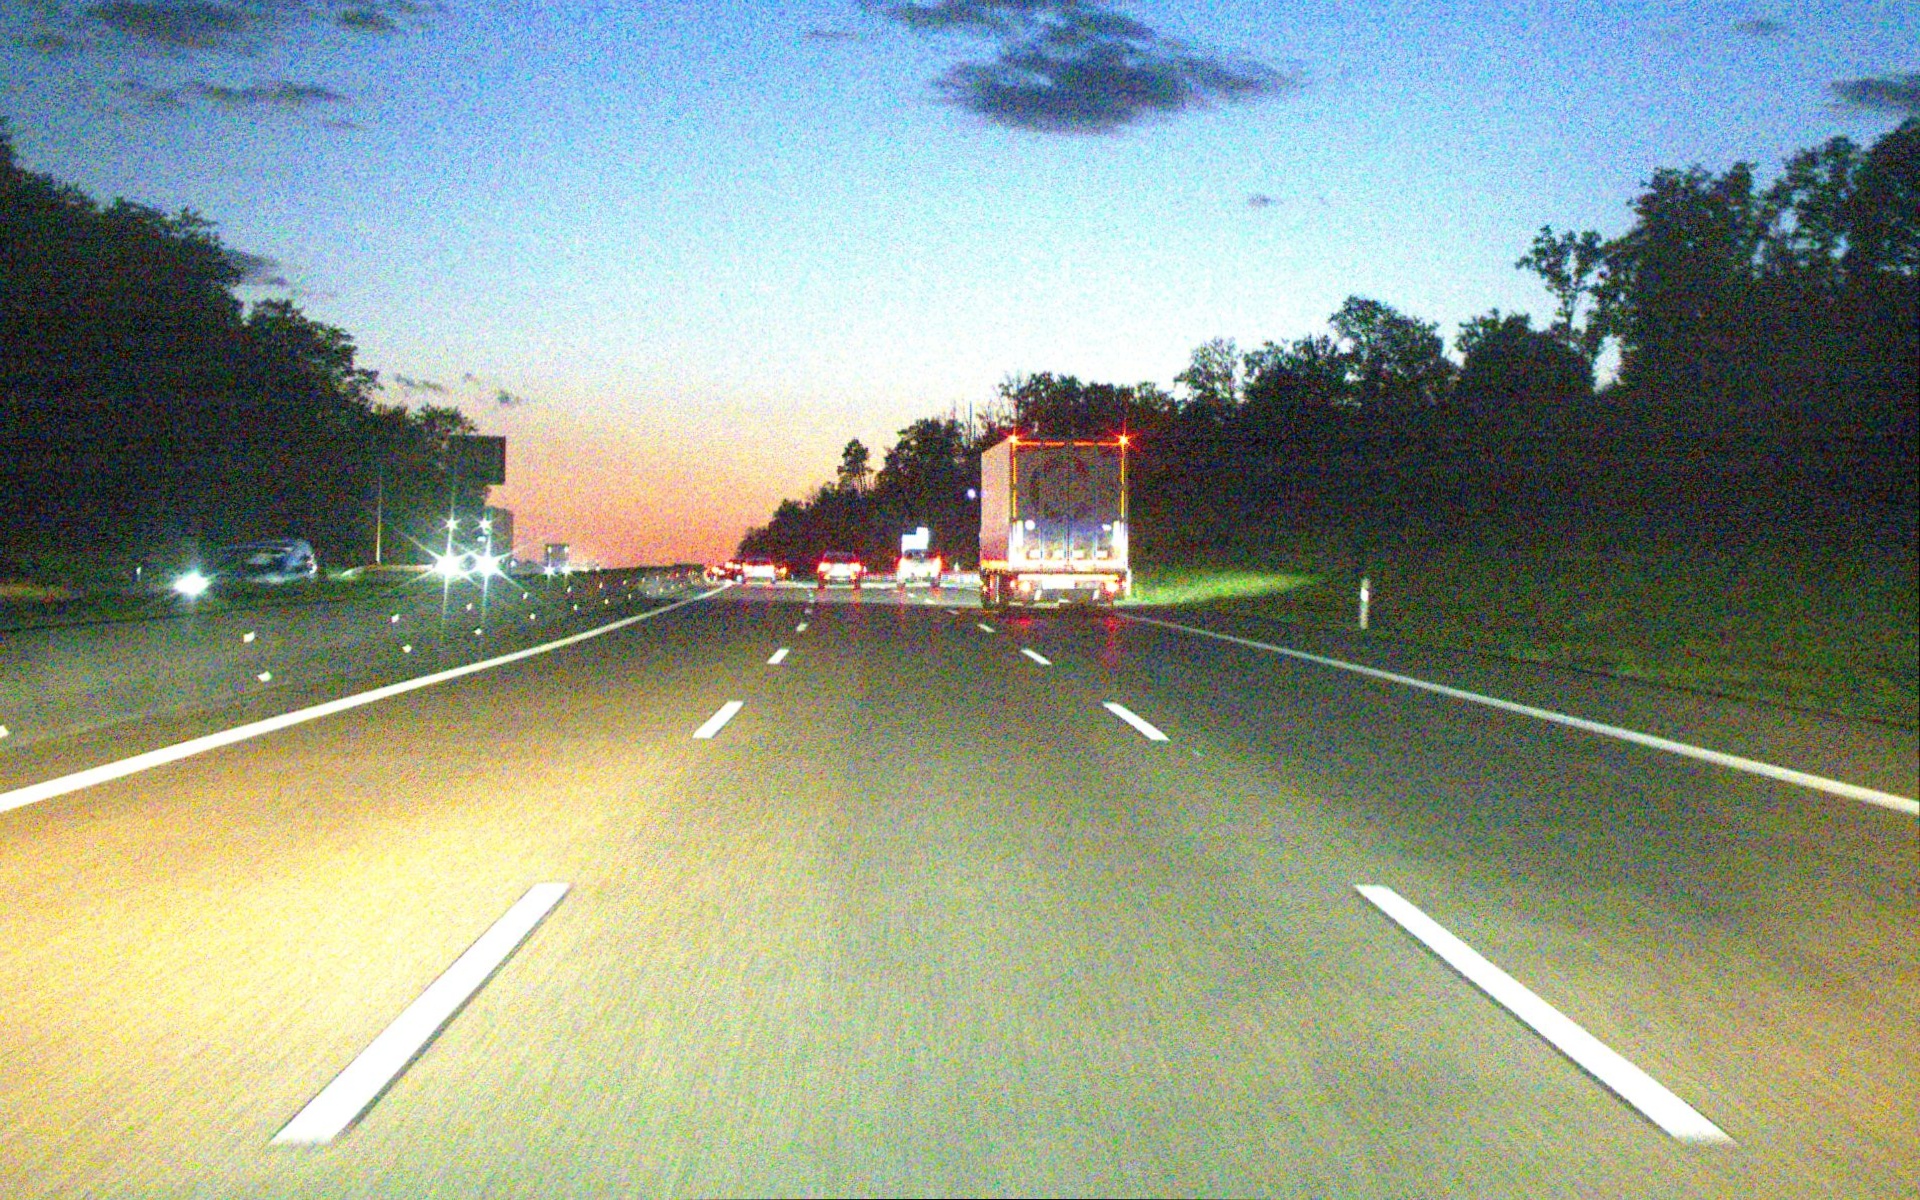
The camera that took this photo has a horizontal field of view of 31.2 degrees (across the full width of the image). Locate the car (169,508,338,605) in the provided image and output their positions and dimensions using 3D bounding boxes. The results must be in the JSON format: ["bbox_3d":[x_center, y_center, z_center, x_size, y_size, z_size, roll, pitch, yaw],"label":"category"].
[{"bbox_3d":[-13.036,-0.836,63.758,2.244,1.713,4.888,0,1,-1],"label":"car"}]

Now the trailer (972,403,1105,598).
[{"bbox_3d":[1.741,-2.317,83.399,2.829,4.242,17.050,0,1,0],"label":"trailer"}]

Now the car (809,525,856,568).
[{"bbox_3d":[-5.467,-2.285,147.374,1.993,1.788,4.000,0,0,-2],"label":"car"}]

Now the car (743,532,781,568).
[{"bbox_3d":[-10.527,-2.652,183.181,1.993,1.788,4.000,0,0,-3],"label":"car"}]

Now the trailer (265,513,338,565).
[{"bbox_3d":[-22.638,-2.096,118.303,1.896,1.740,3.845,0,1,-2],"label":"trailer"}]

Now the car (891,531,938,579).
[{"bbox_3d":[-2.115,-2.048,158.325,1.993,2.110,4.000,0,0,-3],"label":"car"}]

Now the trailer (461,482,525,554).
[{"bbox_3d":[-26.813,-4.699,197.747,2.859,4.057,8.873,0,1,-3],"label":"trailer"}]

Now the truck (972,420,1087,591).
[{"bbox_3d":[1.743,-2.410,88.860,2.829,4.242,6.263,0,1,0],"label":"truck"}]

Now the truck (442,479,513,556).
[{"bbox_3d":[-26.324,-4.482,188.003,2.859,4.057,10.637,0,1,-3],"label":"truck"}]
